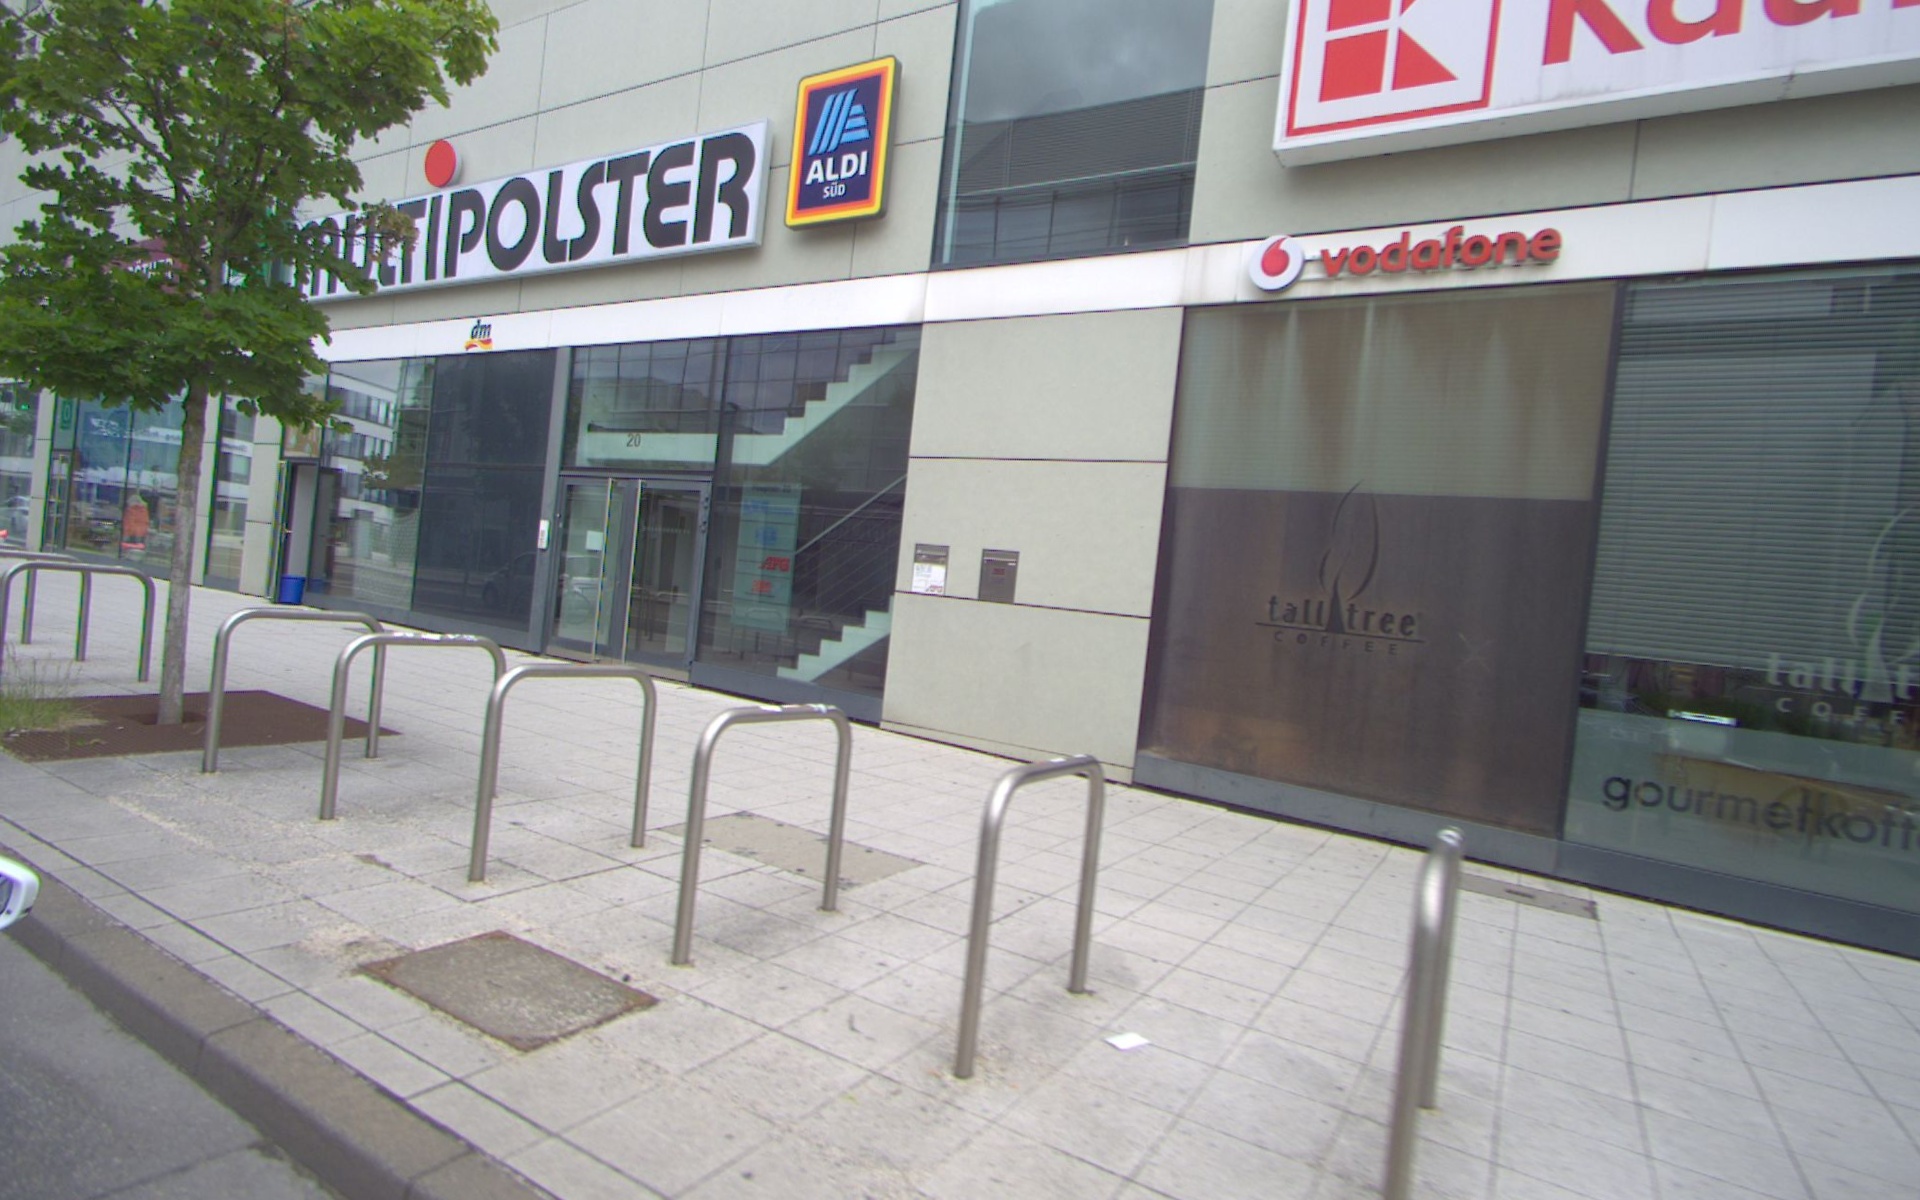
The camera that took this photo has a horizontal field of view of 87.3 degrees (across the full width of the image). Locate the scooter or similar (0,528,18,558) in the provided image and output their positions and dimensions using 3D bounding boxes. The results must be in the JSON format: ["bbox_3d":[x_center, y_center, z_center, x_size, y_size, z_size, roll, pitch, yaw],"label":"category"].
[{"bbox_3d":[-18.766,-1.122,19.533,0.632,0.554,0.550,7,4,32],"label":"scooter or similar"}]
